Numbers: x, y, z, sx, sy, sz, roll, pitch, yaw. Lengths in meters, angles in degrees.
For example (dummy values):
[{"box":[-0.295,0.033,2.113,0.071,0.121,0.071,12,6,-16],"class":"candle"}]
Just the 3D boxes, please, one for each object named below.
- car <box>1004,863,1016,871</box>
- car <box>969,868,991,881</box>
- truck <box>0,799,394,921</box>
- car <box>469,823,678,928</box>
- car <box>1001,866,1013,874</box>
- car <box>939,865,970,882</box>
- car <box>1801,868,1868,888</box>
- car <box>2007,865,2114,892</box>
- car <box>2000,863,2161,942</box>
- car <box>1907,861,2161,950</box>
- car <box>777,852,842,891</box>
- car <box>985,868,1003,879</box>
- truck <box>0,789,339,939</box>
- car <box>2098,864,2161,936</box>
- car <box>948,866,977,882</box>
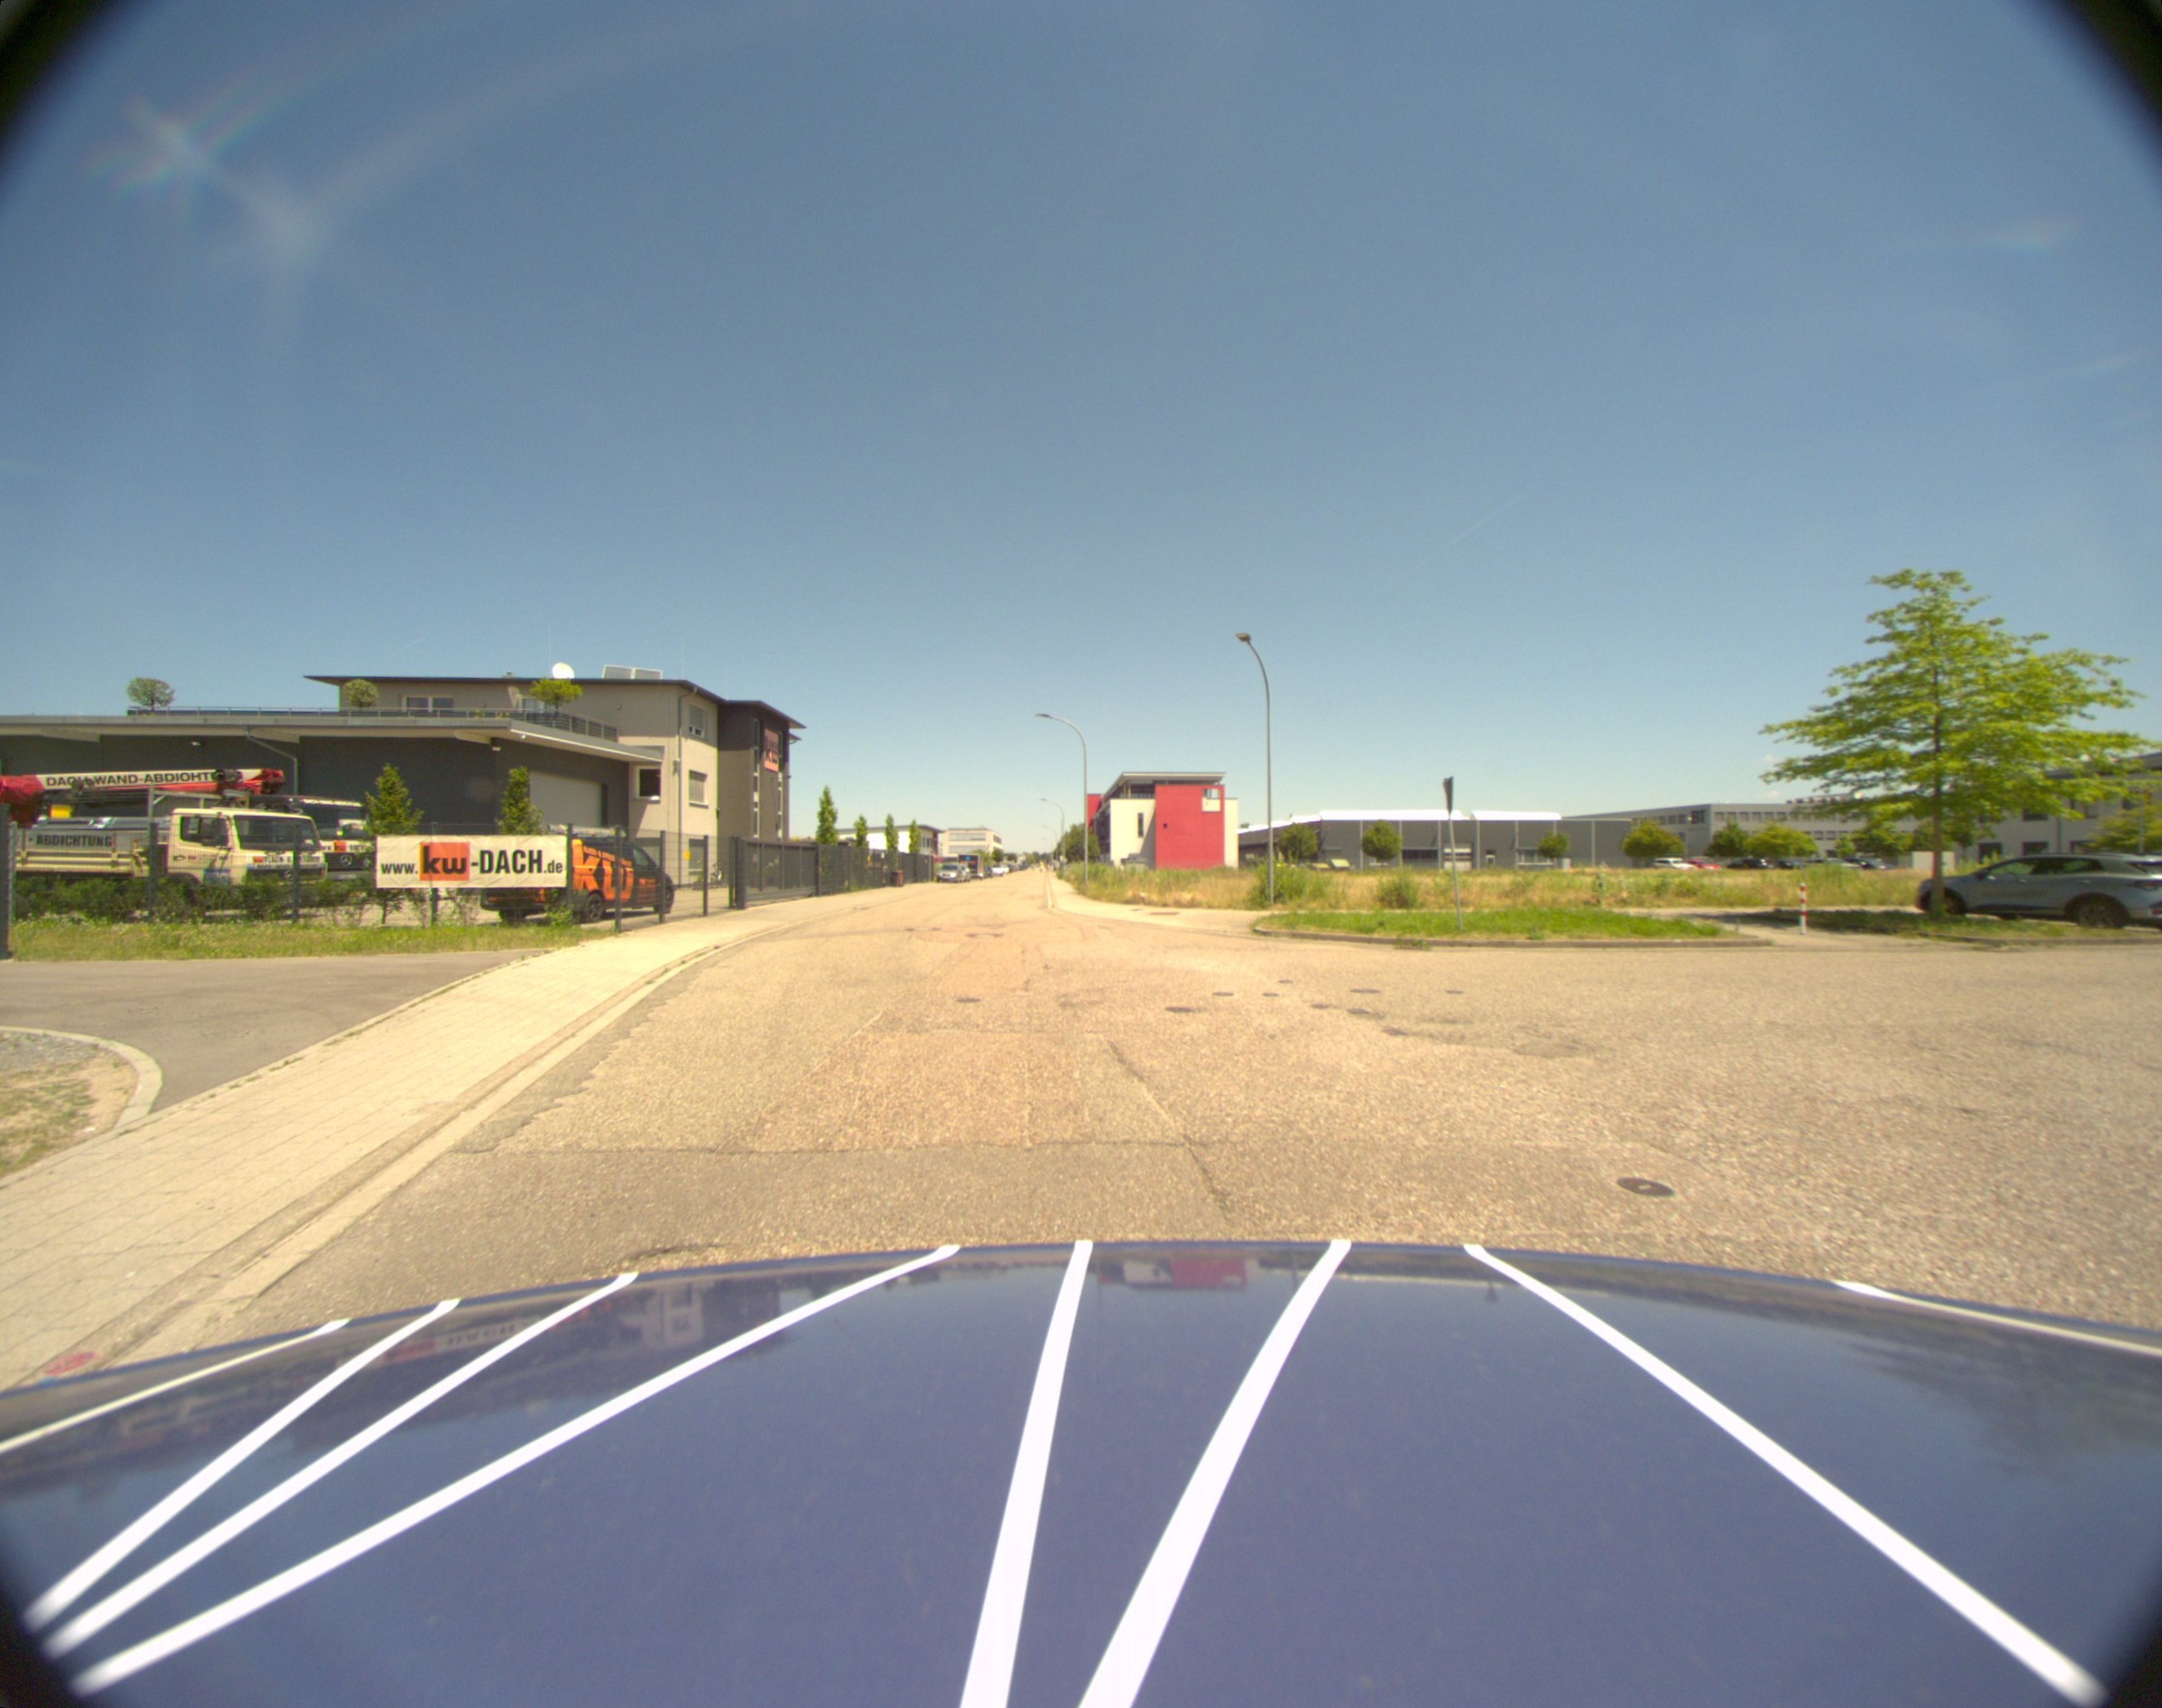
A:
[{"box":[-12.926,2.336,137.925,1.829,1.269,3.885,1,-1,-2],"class":"car"},{"box":[-10.016,2.008,75.535,1.829,1.269,3.885,1,-1,-2],"class":"car"},{"box":[-24.933,0.168,21.144,8.968,3.158,2.689,0,0,-2],"class":"truck"},{"box":[-11.745,0.464,18.077,1.920,2.148,4.779,0,0,-3],"class":"car"},{"box":[-12.854,2.821,131.927,1.829,1.269,3.885,1,-1,-2],"class":"car"},{"box":[-9.662,1.475,58.188,1.829,1.269,3.885,1,-1,-2],"class":"car"},{"box":[68.193,2.147,68.858,1.999,1.739,3.999,1,-1,-5],"class":"car"},{"box":[66.354,1.609,51.566,1.999,1.739,3.999,1,-1,-3],"class":"car"},{"box":[24.177,1.049,17.015,1.957,1.687,4.308,0,0,-1],"class":"car"},{"box":[21.505,1.005,16.728,1.957,1.687,4.308,0,0,-1],"class":"car"},{"box":[-13.103,0.819,36.911,1.929,1.784,3.999,1,-1,-4],"class":"car"},{"box":[-10.397,2.328,91.378,1.829,1.269,3.885,1,-1,-2],"class":"car"},{"box":[-21.724,0.212,16.538,8.356,3.004,2.625,0,0,-2],"class":"truck"},{"box":[26.600,1.084,16.980,1.957,1.687,4.308,0,0,-1],"class":"car"},{"box":[-9.799,1.621,63.025,1.829,1.269,3.885,1,-1,-2],"class":"car"}]
